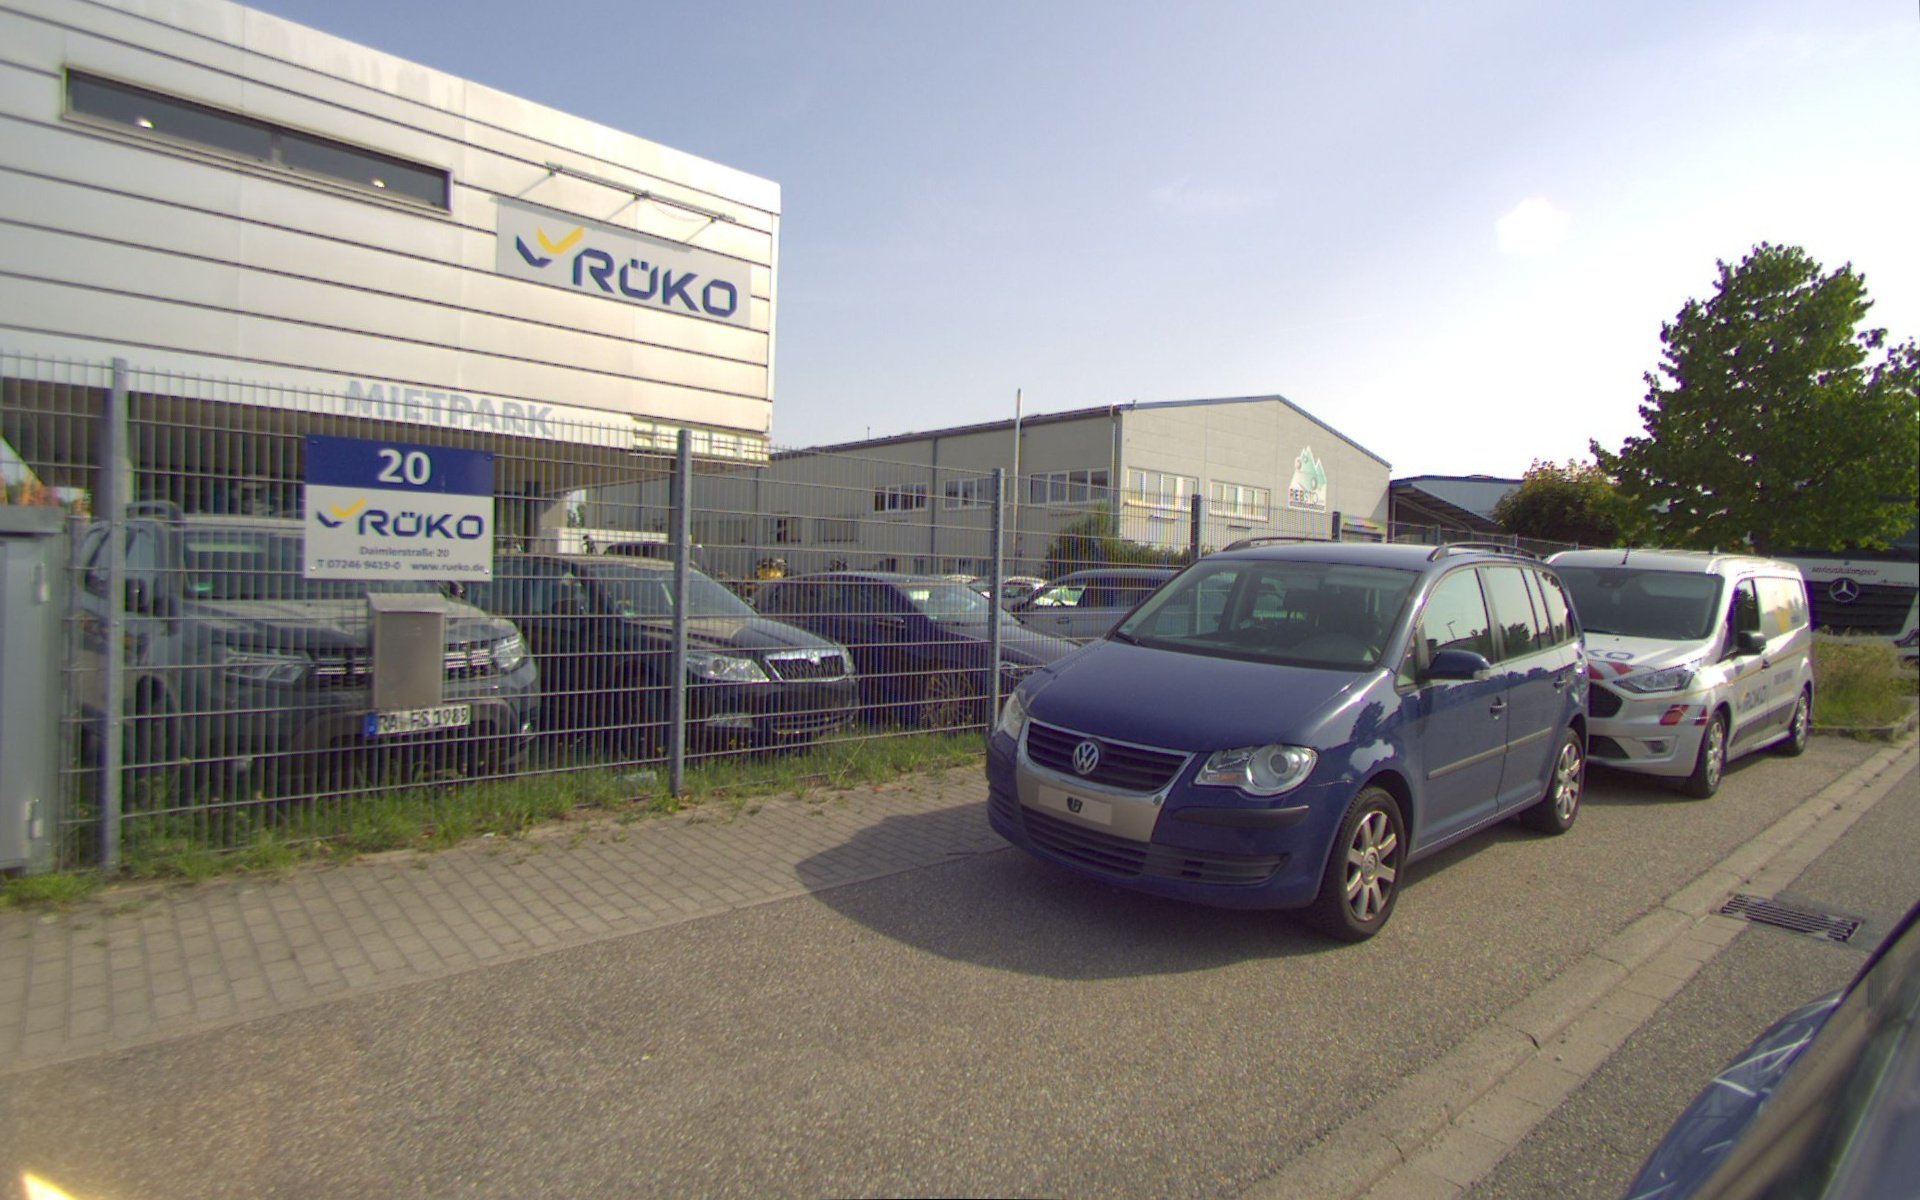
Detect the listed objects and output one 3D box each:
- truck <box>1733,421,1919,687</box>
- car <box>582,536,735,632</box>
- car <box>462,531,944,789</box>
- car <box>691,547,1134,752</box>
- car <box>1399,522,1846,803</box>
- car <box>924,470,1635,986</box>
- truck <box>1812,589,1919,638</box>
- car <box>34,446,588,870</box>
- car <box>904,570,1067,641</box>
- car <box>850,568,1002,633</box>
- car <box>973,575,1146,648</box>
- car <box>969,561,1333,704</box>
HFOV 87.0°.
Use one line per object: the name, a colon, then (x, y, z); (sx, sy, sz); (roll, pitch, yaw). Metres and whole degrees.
truck: (17.703, -0.703, 19.313); (9.518, 4.064, 2.751); (1, 3, -42)
car: (-7.166, -0.391, 23.801); (1.861, 2.027, 4.366); (1, 1, -40)
car: (-2.270, 0.294, 8.126); (1.868, 1.514, 4.228); (2, 1, -44)
car: (-0.641, 0.309, 9.673); (1.868, 1.514, 4.228); (2, 1, -44)
car: (5.868, 0.363, 8.731); (4.518, 1.811, 1.998); (0, 2, -40)
car: (1.988, 0.395, 5.502); (4.176, 1.741, 1.828); (0, 2, -42)
truck: (54.186, 0.751, 59.486); (2.229, 2.561, 6.223); (2, 1, -9)
car: (-4.253, 0.175, 6.322); (4.223, 1.759, 1.870); (3, 1, 42)
car: (0.751, 0.149, 26.877); (1.889, 1.712, 4.301); (2, 1, 44)
car: (-0.923, 0.013, 29.339); (1.889, 1.712, 4.301); (2, 1, 44)
car: (2.489, 0.267, 24.523); (1.889, 1.576, 4.301); (2, 1, 44)
car: (2.157, 0.277, 12.182); (3.989, 1.388, 1.762); (3, 1, 45)
